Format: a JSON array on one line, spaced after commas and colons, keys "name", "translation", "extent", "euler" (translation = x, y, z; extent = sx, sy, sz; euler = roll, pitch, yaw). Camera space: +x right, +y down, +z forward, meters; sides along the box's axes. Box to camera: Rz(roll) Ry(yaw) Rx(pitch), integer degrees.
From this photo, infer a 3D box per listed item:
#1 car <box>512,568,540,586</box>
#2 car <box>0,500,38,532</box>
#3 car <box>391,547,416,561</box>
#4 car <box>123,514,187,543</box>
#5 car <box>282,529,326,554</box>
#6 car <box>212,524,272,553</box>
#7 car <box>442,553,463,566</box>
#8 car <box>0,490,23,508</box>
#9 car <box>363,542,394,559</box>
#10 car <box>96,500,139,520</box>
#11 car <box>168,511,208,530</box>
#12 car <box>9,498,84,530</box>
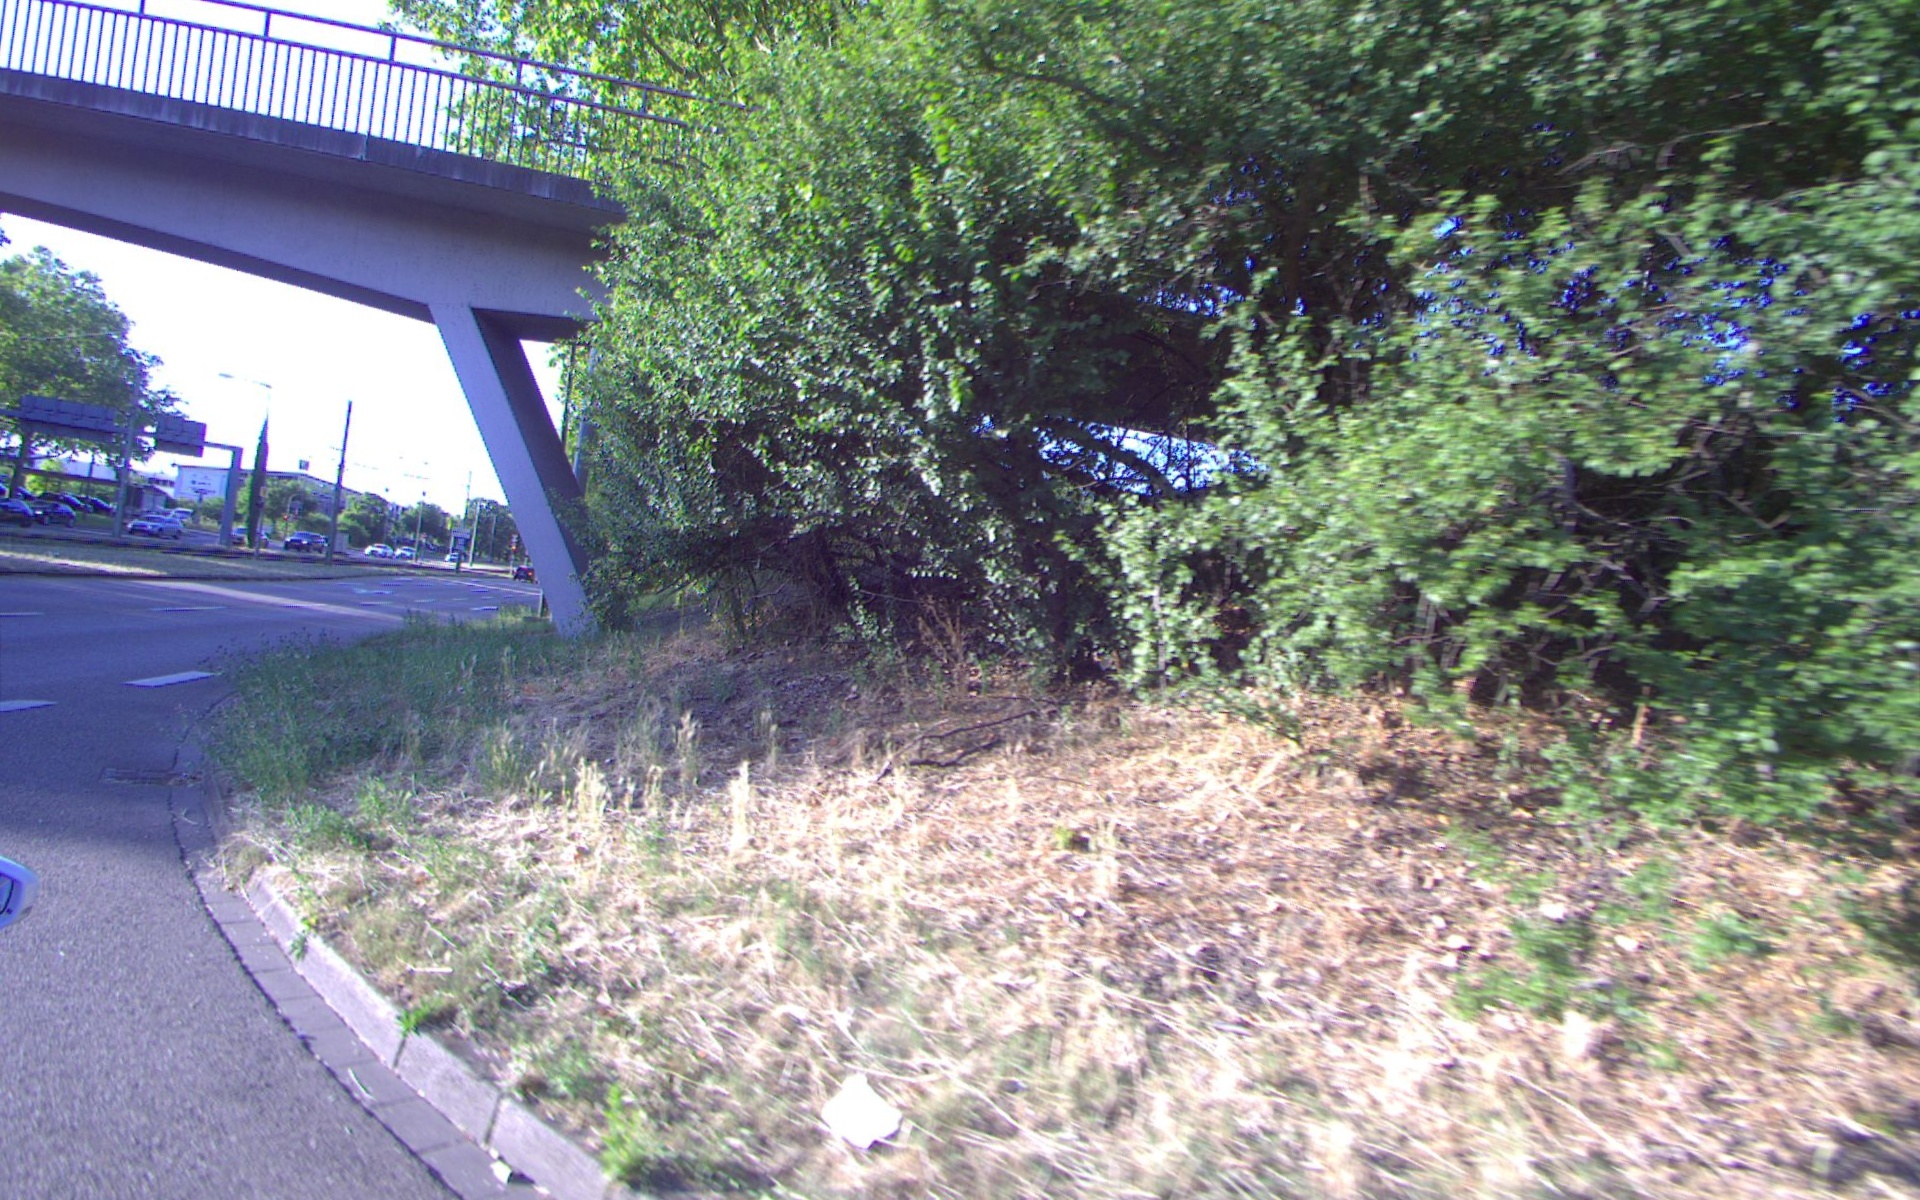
[{"name": "car", "translation": [-40.953, -2.150, 94.940], "extent": [1.771, 1.419, 3.680], "euler": [8, -2, -15]}, {"name": "car", "translation": [-46.273, -4.175, 47.778], "extent": [1.665, 1.325, 4.300], "euler": [8, -2, -13]}, {"name": "car", "translation": [-67.675, -5.576, 122.320], "extent": [1.635, 1.432, 4.244], "euler": [9, -1, -17]}, {"name": "car", "translation": [-55.353, -4.888, 69.275], "extent": [1.667, 1.432, 4.425], "euler": [9, -2, -15]}, {"name": "car", "translation": [-56.358, -5.032, 86.534], "extent": [1.818, 1.673, 4.421], "euler": [9, -2, -17]}, {"name": "car", "translation": [-48.682, -4.145, 68.274], "extent": [1.816, 1.432, 4.009], "euler": [8, -2, -14]}, {"name": "car", "translation": [-72.800, -5.819, 144.344], "extent": [1.634, 1.432, 4.245], "euler": [9, -1, -16]}, {"name": "car", "translation": [-87.067, -9.343, 90.181], "extent": [4.007, 1.402, 1.779], "euler": [9, -1, -15]}, {"name": "car", "translation": [-62.909, -5.380, 108.890], "extent": [1.817, 1.432, 4.584], "euler": [8, -1, -17]}, {"name": "car", "translation": [-91.634, -9.759, 109.437], "extent": [1.819, 1.458, 3.991], "euler": [9, -2, -13]}, {"name": "car", "translation": [-85.490, -8.794, 111.434], "extent": [1.819, 1.458, 3.991], "euler": [9, -2, -13]}, {"name": "car", "translation": [-57.580, -5.403, 63.498], "extent": [1.667, 1.432, 4.179], "euler": [9, -2, -17]}]
